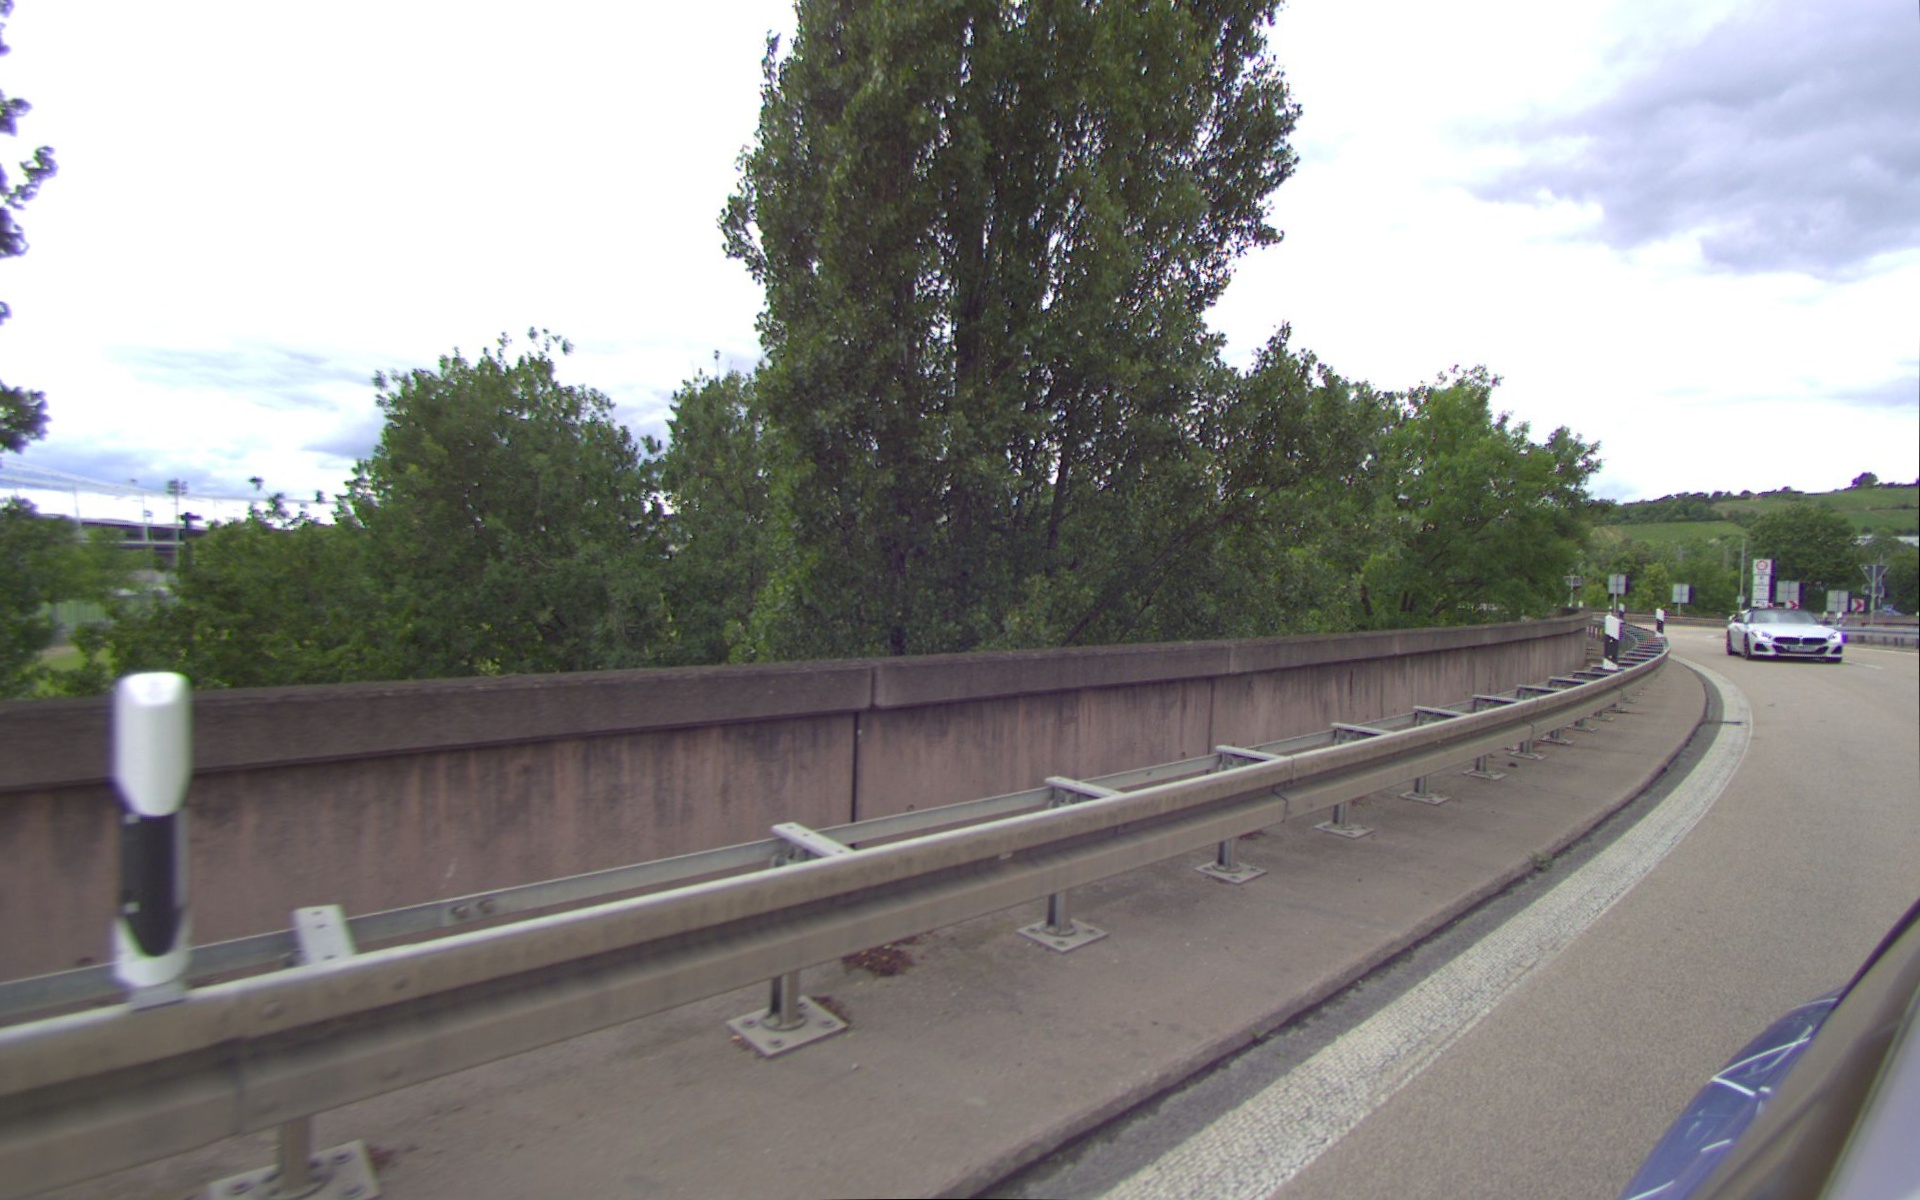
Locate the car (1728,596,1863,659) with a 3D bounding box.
[{"bbox_3d":[21.380,0.634,26.106,1.848,1.361,4.774,2,2,30],"label":"car"}]
